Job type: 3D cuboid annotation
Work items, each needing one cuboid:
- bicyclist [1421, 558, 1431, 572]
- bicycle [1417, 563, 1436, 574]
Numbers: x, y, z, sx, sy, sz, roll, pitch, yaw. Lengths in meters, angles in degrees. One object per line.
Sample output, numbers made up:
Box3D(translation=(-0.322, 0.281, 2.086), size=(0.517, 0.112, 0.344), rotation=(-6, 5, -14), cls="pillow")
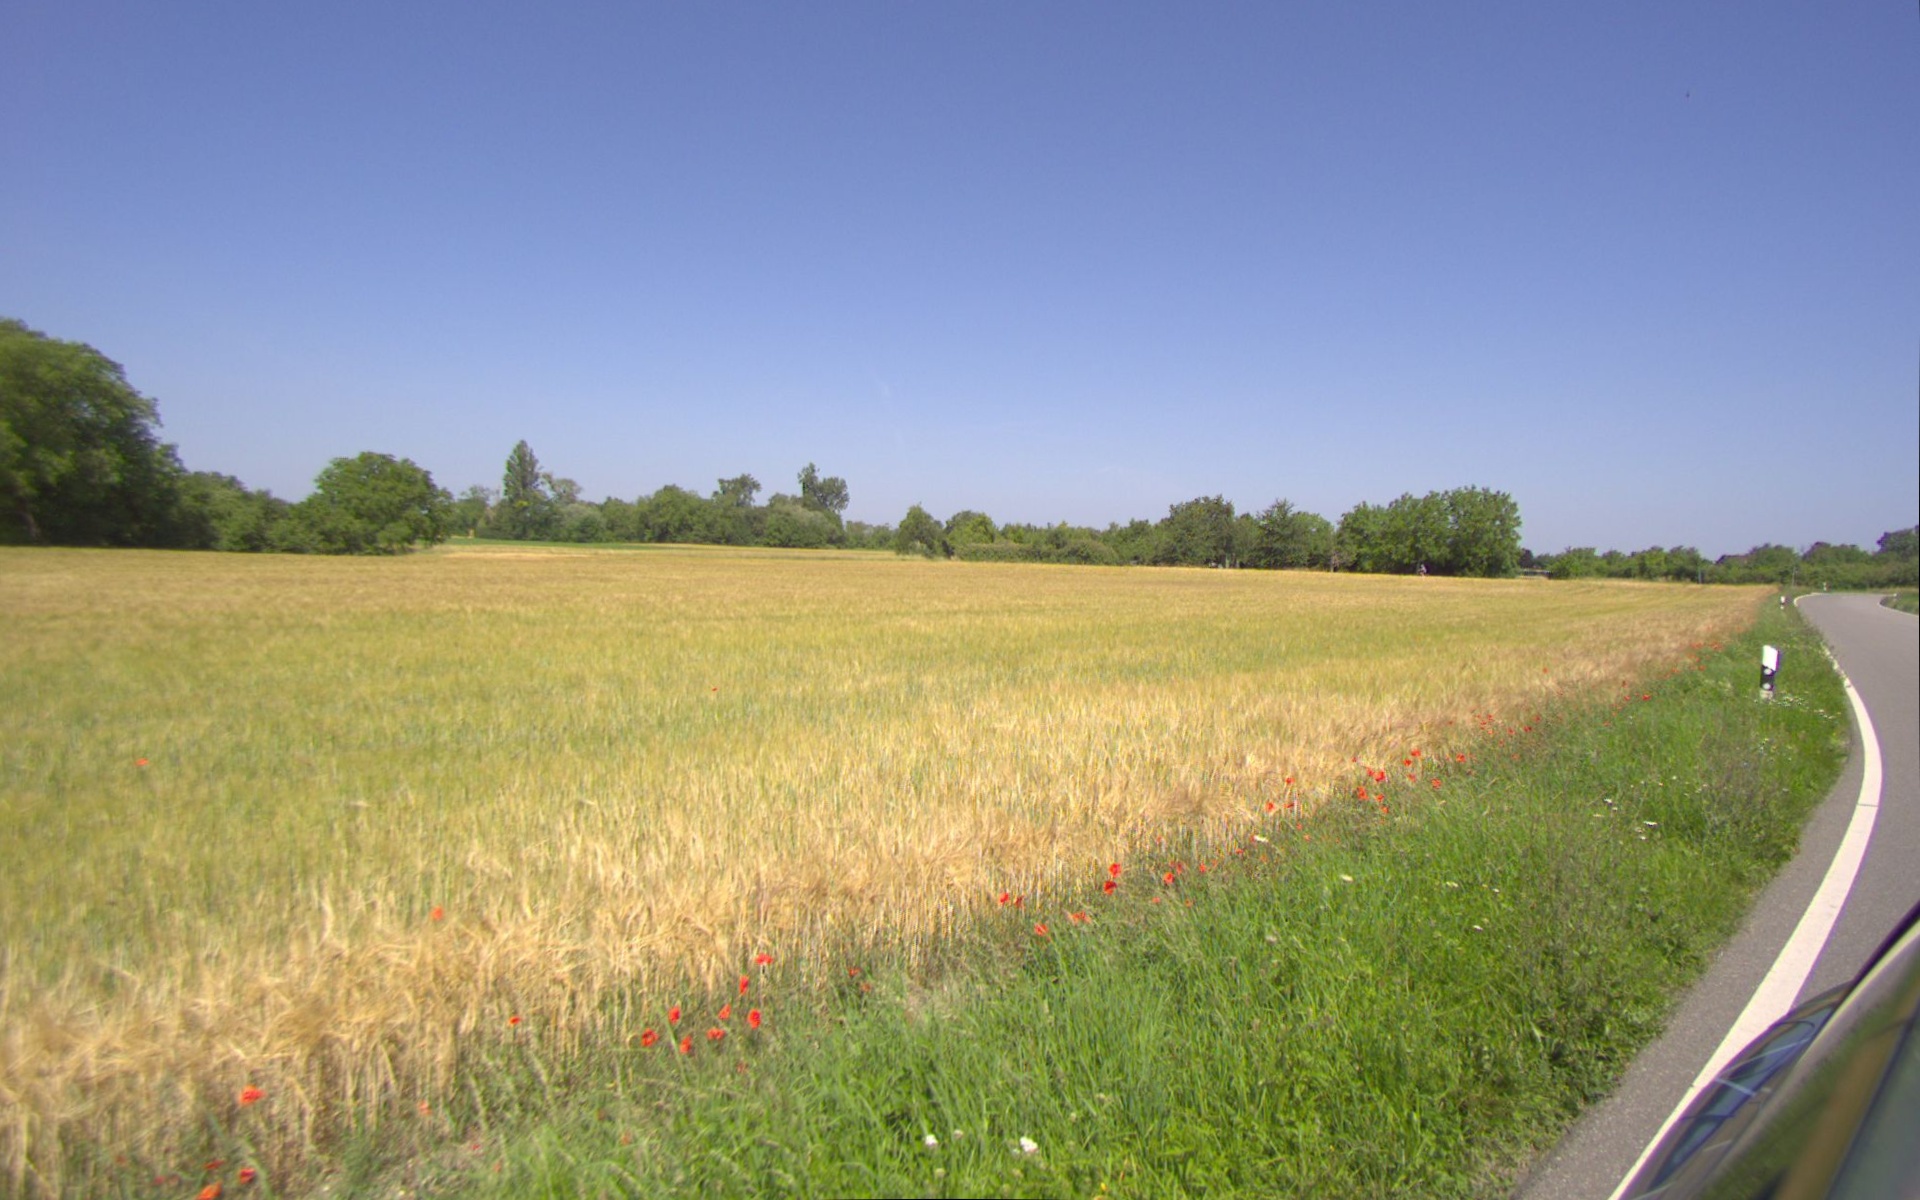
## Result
Box3D(translation=(51.038, -3.835, 110.753), size=(0.723, 1.592, 0.674), rotation=(2, 3, 6), cls="bicyclist")
Box3D(translation=(51.035, -3.454, 110.770), size=(1.738, 1.129, 0.521), rotation=(2, 3, 6), cls="bicycle")
